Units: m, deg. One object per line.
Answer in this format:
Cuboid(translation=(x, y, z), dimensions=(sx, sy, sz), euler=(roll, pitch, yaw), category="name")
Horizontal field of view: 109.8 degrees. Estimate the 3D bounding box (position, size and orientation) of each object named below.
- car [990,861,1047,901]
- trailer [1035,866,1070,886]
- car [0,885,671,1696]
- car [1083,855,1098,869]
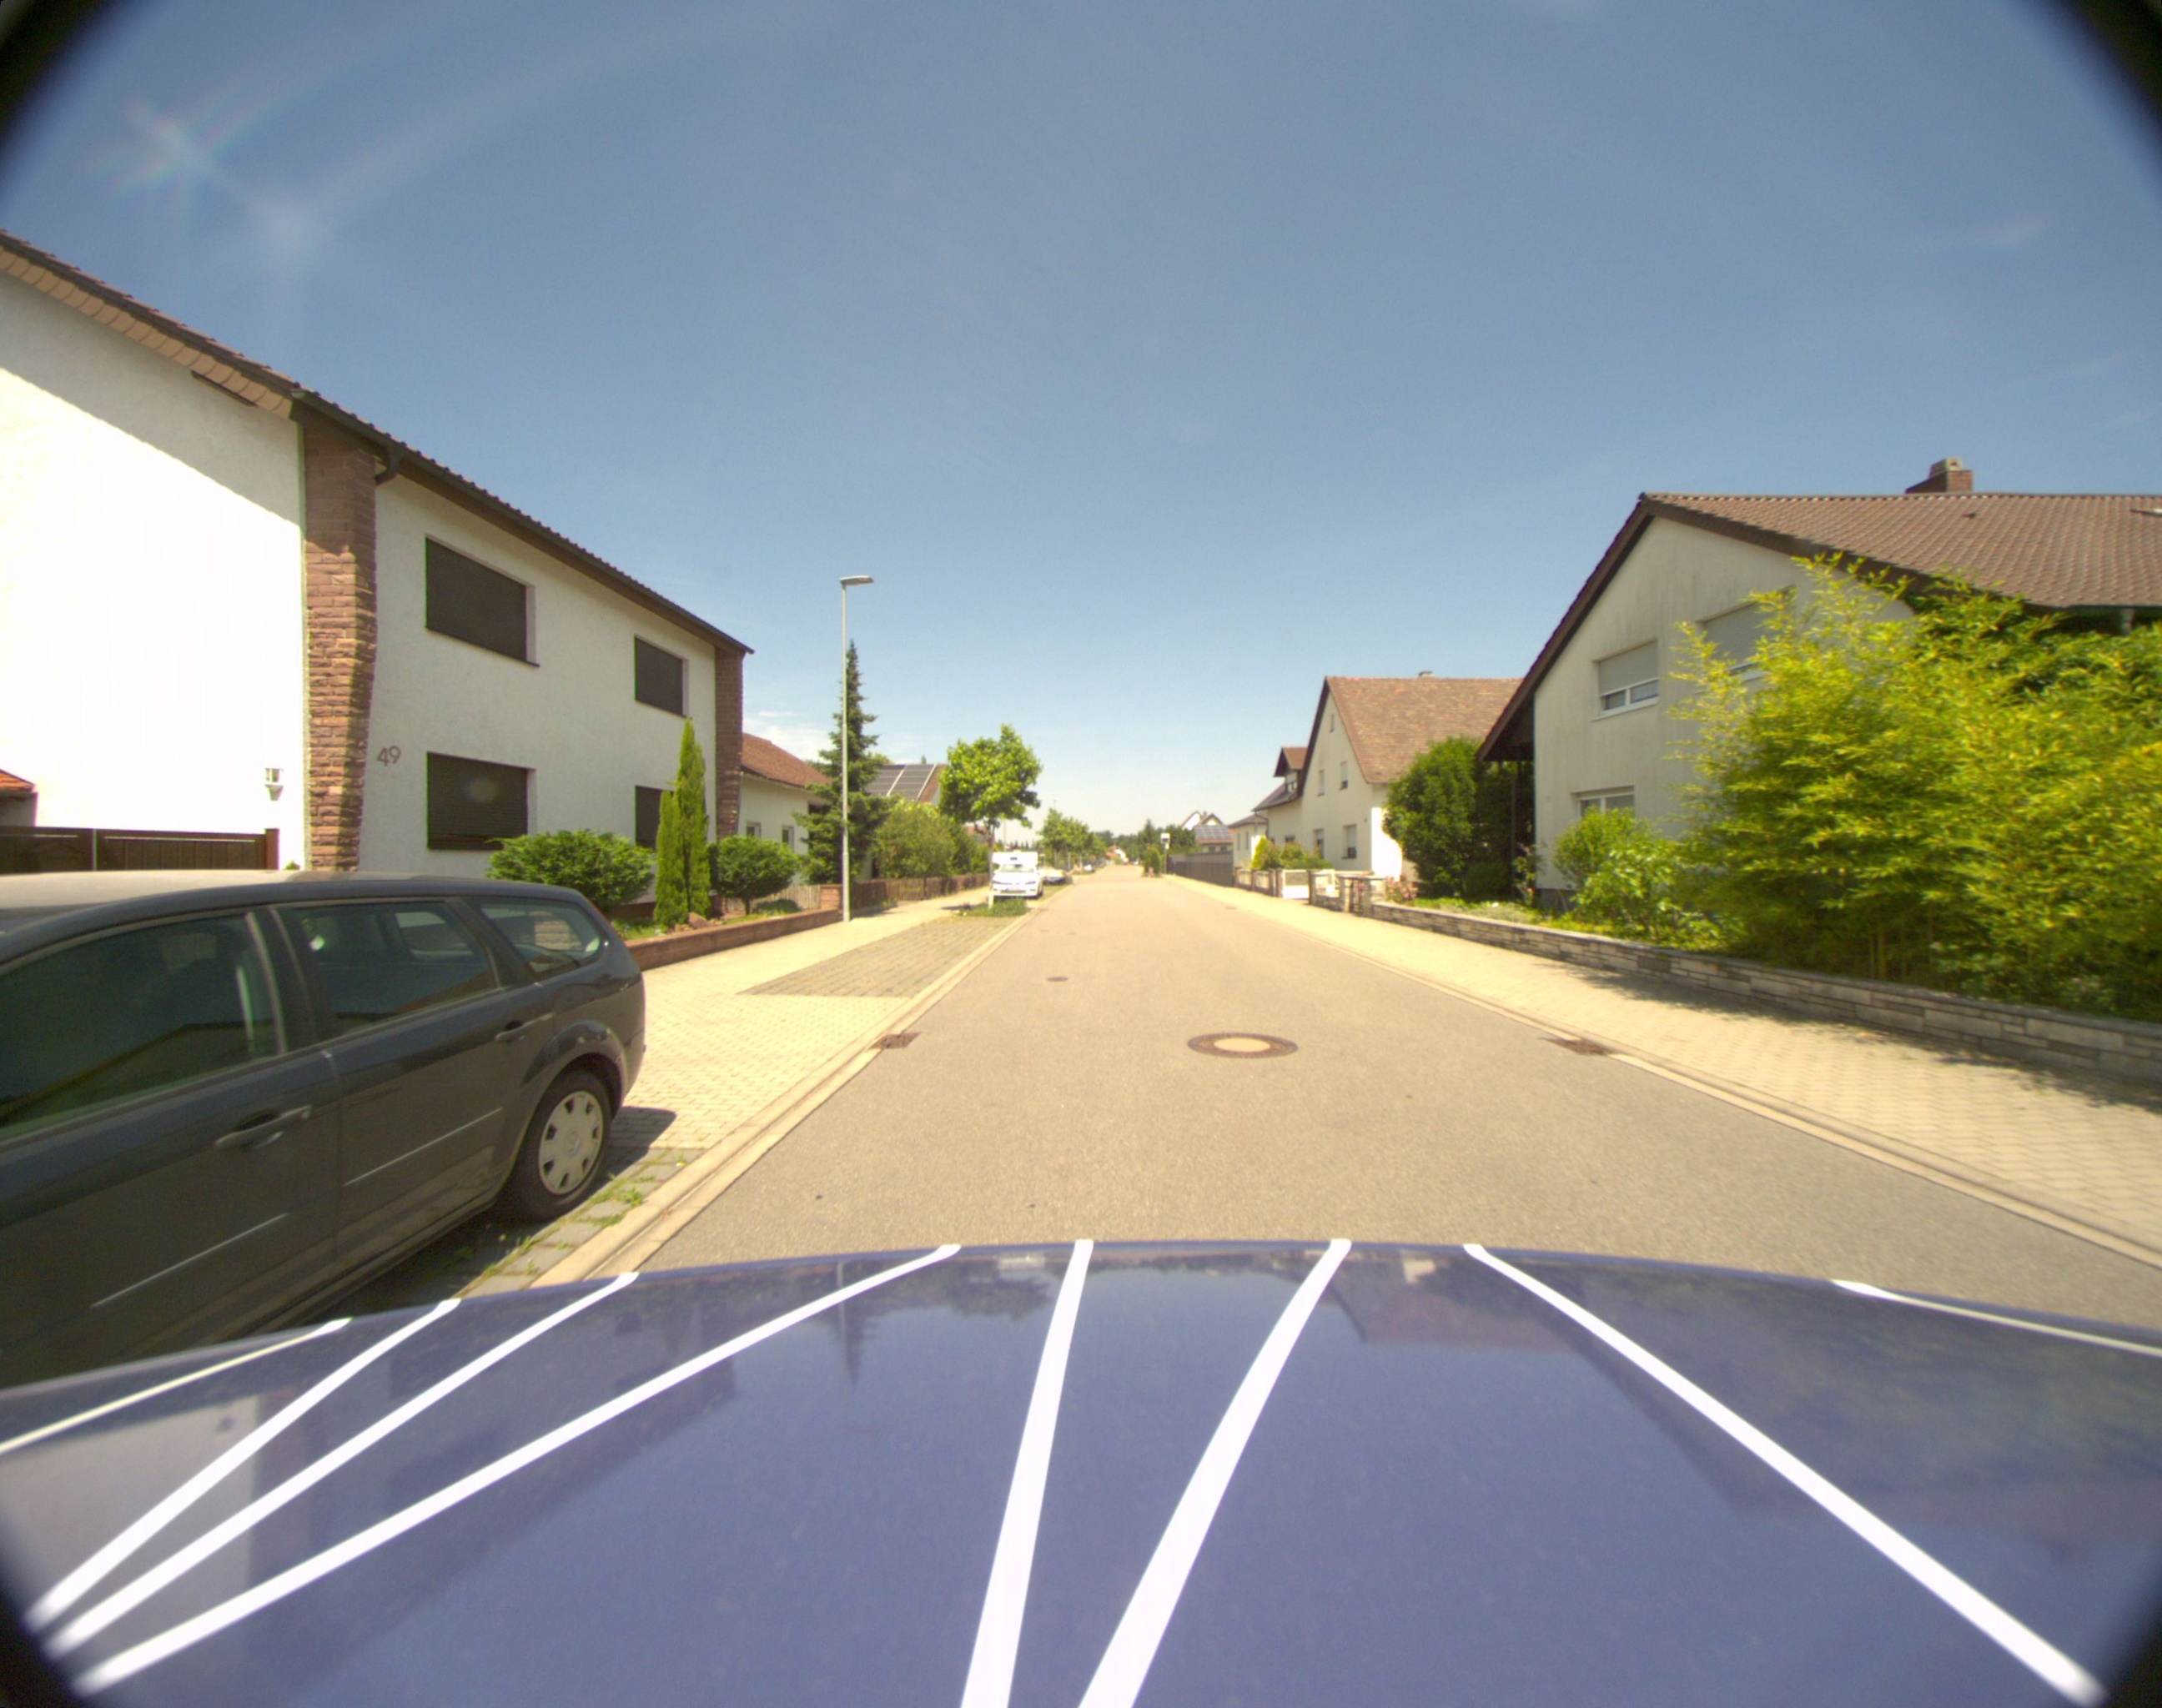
Cuboid(translation=(-2.335, 1.001, 29.360), dimensions=(1.819, 1.412, 3.868), euler=(0, 0, 1), category="car")
Cuboid(translation=(-1.611, 1.252, 44.116), dimensions=(1.792, 1.052, 2.899), euler=(0, 0, 3), category="trailer")
Cuboid(translation=(-3.062, 0.941, 1.851), dimensions=(1.746, 1.524, 4.448), euler=(-1, 0, -1), category="car")
Cuboid(translation=(1.181, 0.999, 97.146), dimensions=(1.597, 1.630, 3.804), euler=(-1, 0, 5), category="car")
